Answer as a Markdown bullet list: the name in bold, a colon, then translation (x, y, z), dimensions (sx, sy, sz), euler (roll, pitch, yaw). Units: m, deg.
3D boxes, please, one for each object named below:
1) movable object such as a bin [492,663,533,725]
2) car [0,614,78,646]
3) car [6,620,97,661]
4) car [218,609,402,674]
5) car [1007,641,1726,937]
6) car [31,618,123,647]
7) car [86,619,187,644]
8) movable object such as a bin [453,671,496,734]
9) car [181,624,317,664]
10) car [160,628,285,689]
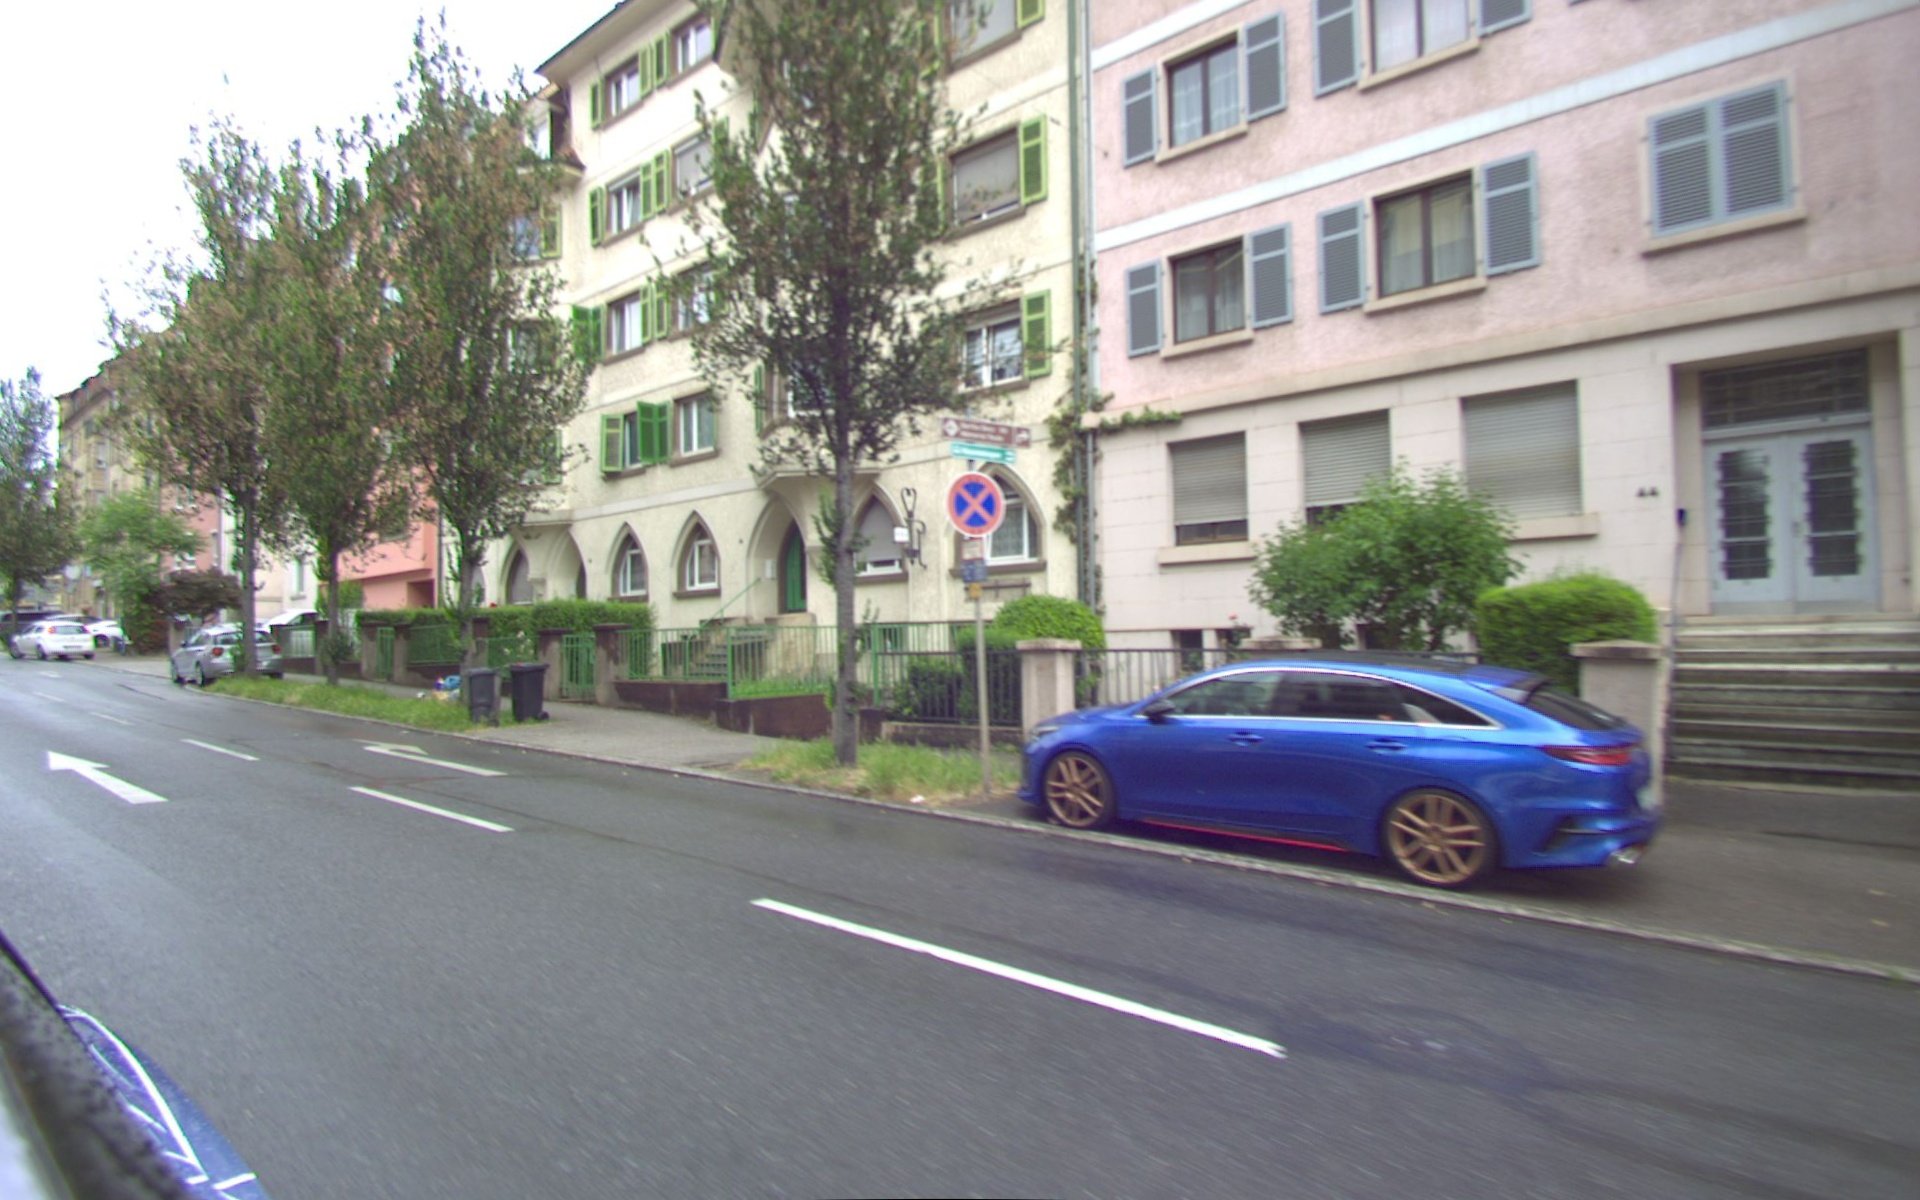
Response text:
- **movable object such as a bin**: translation (-7.044, 1.467, 15.929), dimensions (0.572, 0.918, 0.360), euler (0, 0, 39)
- **car**: translation (-55.309, 1.788, 60.240), dimensions (1.865, 1.861, 3.882), euler (0, -2, 37)
- **car**: translation (-35.360, 1.539, 39.373), dimensions (3.639, 1.483, 1.653), euler (0, 0, 31)
- **car**: translation (-20.934, 1.274, 32.762), dimensions (1.916, 1.919, 4.674), euler (0, 0, 38)
- **car**: translation (2.677, 1.067, 7.392), dimensions (4.599, 1.396, 1.662), euler (0, -1, 40)
- **car**: translation (-52.543, 1.958, 60.269), dimensions (1.591, 1.634, 3.879), euler (0, -2, 40)
- **car**: translation (-43.701, 1.684, 53.756), dimensions (1.645, 1.307, 3.879), euler (0, -2, 40)
- **movable object such as a bin**: translation (-7.274, 1.525, 15.162), dimensions (0.572, 0.896, 0.360), euler (-1, 0, 39)
- **car**: translation (-27.067, 1.667, 38.644), dimensions (1.721, 1.408, 3.887), euler (0, -2, 34)
- **car**: translation (-19.184, 1.472, 26.277), dimensions (4.135, 1.428, 1.664), euler (-1, -3, 40)
